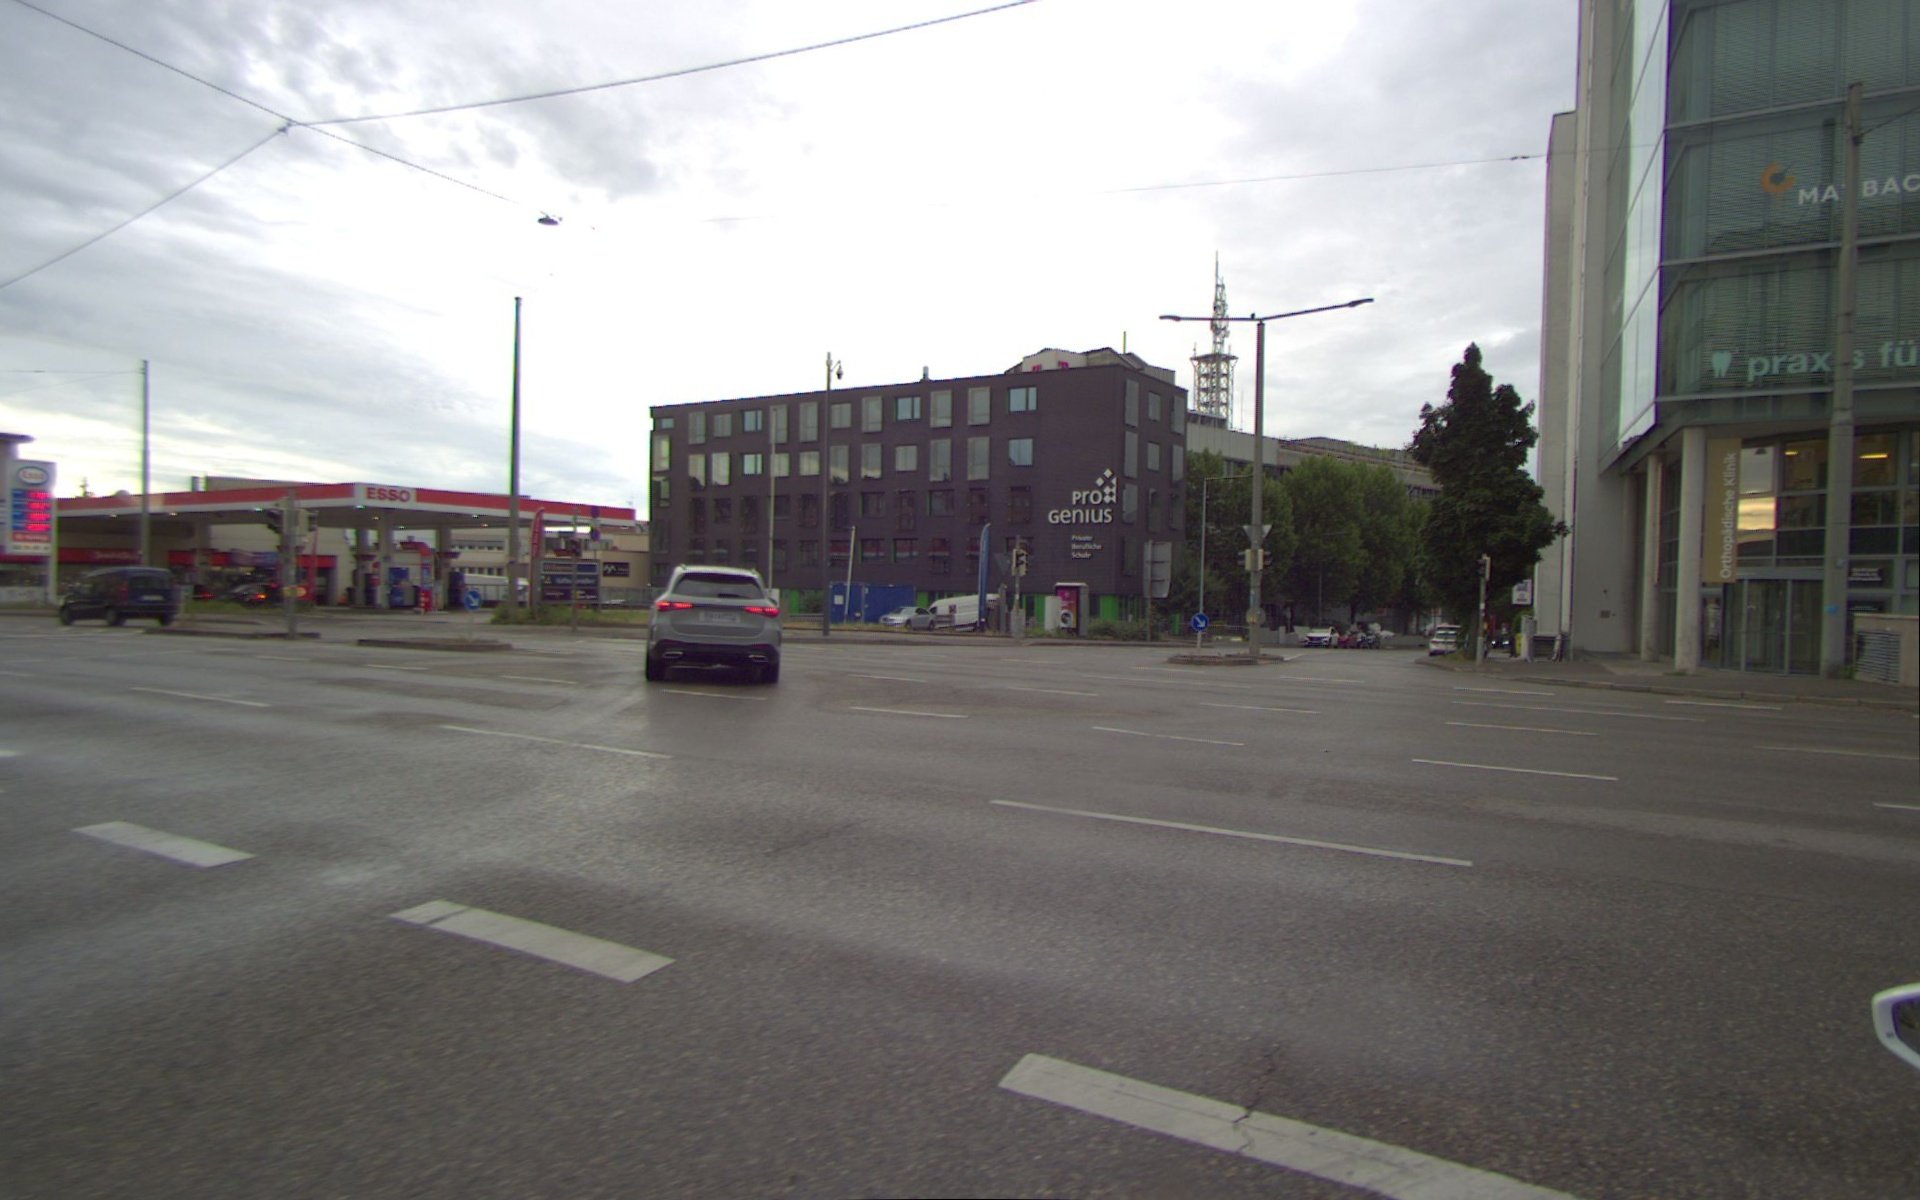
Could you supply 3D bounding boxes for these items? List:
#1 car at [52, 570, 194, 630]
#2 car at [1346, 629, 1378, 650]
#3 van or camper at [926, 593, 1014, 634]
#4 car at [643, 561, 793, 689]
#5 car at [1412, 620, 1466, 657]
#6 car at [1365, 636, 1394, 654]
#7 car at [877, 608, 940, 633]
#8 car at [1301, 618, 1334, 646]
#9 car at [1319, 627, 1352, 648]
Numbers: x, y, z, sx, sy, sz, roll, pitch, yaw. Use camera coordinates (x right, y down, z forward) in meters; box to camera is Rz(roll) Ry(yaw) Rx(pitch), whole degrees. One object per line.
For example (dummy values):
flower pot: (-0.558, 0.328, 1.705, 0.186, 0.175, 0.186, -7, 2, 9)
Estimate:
car: (-26.766, -0.008, 32.125, 4.052, 1.792, 1.857, 2, 0, 24)
car: (35.823, 3.523, 89.394, 1.657, 1.615, 3.843, 4, 0, 37)
van or camper: (0.702, 0.928, 69.283, 5.248, 2.400, 2.736, 4, 0, 27)
car: (-3.834, 0.350, 15.421, 1.884, 1.653, 4.194, 2, -1, -18)
car: (25.733, 2.051, 54.070, 1.960, 1.739, 4.001, 4, 0, 18)
car: (40.182, 4.305, 96.130, 1.657, 1.615, 3.659, 4, 0, 37)
car: (-3.042, 1.252, 60.298, 1.770, 1.305, 3.992, 4, -1, 31)
car: (28.833, 2.594, 80.948, 1.963, 2.040, 3.996, 4, 0, 27)
car: (31.689, 3.211, 84.726, 1.656, 1.615, 3.847, 4, 0, 33)
